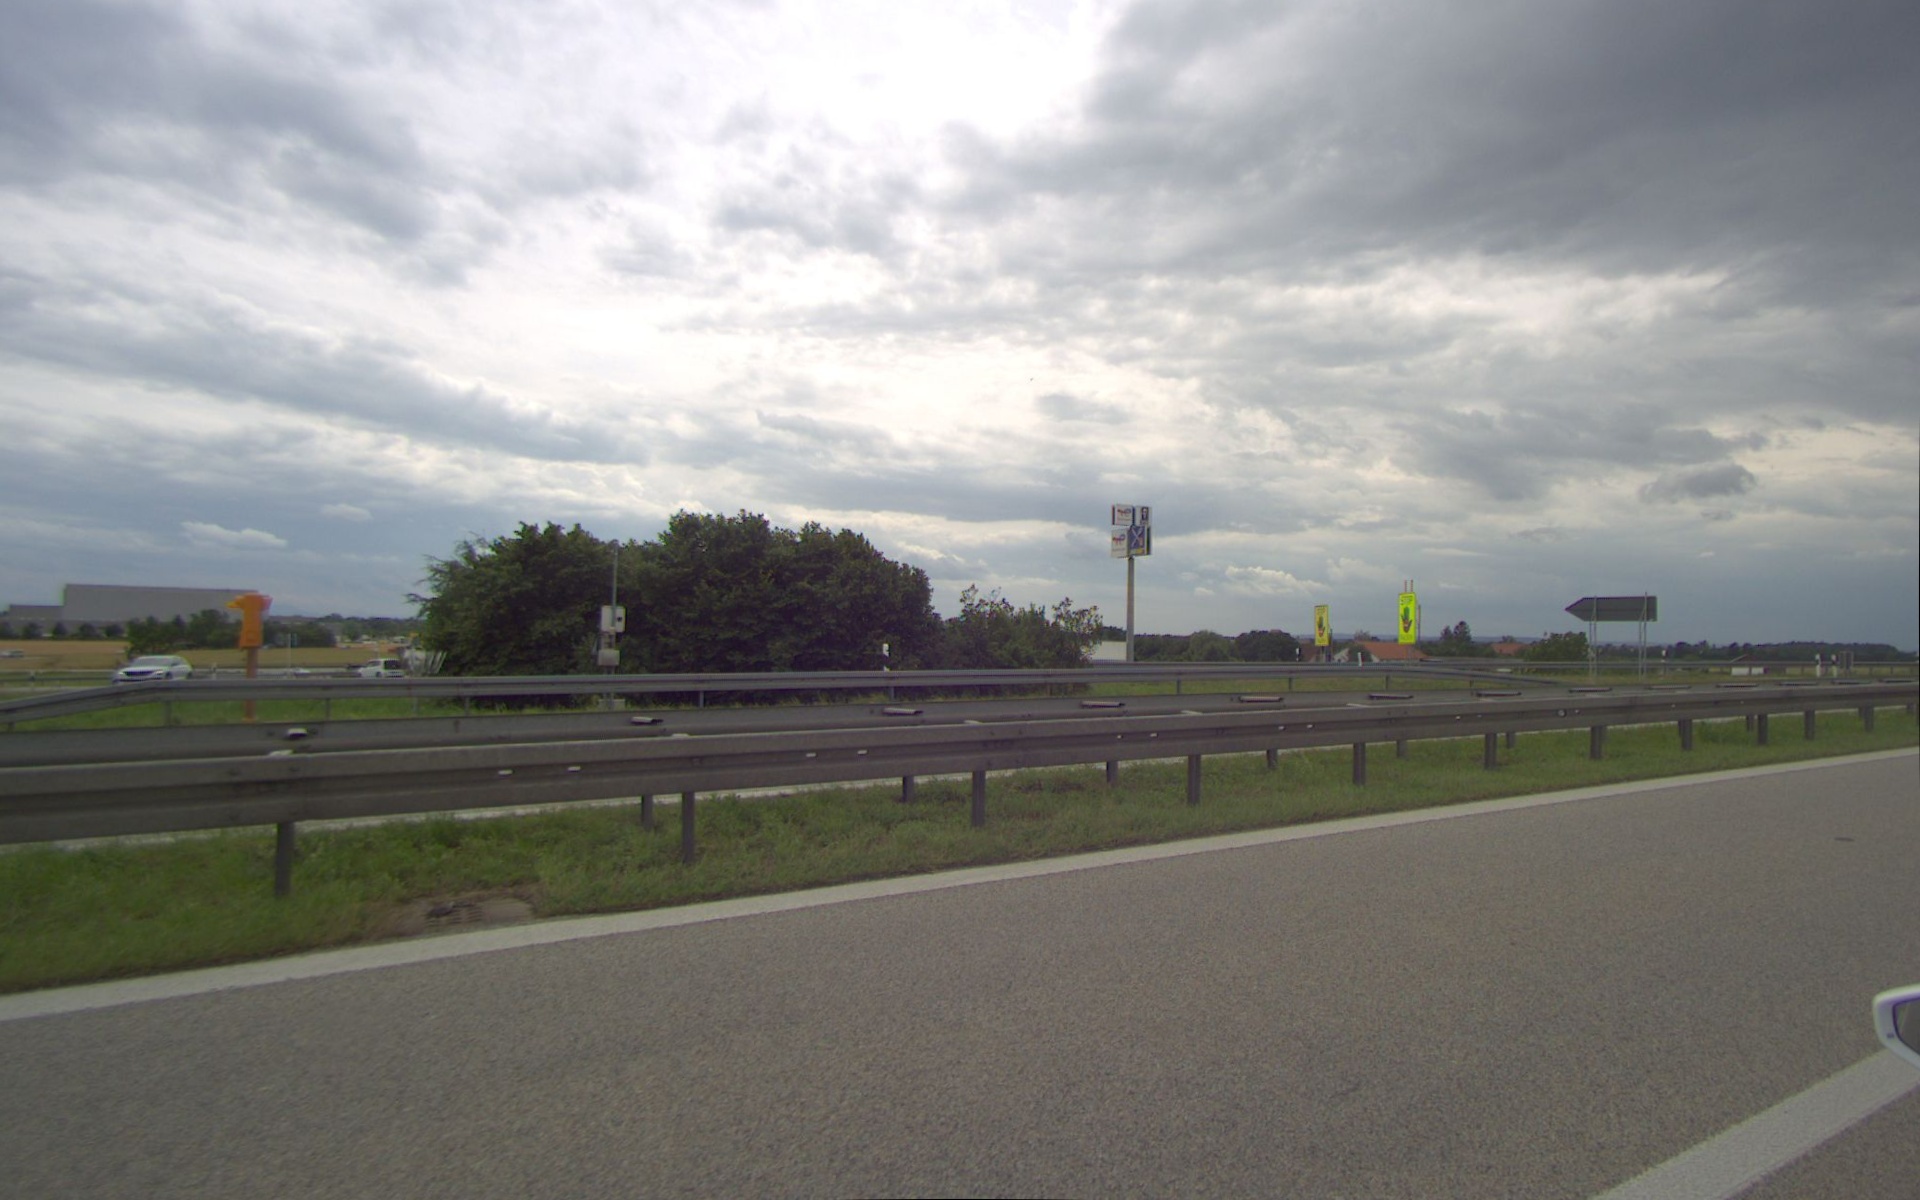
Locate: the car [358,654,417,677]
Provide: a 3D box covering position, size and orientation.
[{"bbox_3d":[-38.203,4.391,67.026,3.935,1.318,1.880,-4,0,35],"label":"car"}]

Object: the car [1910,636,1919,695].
[{"bbox_3d":[28.758,1.819,27.930,4.941,1.609,2.125,1,-2,-31],"label":"car"}]
